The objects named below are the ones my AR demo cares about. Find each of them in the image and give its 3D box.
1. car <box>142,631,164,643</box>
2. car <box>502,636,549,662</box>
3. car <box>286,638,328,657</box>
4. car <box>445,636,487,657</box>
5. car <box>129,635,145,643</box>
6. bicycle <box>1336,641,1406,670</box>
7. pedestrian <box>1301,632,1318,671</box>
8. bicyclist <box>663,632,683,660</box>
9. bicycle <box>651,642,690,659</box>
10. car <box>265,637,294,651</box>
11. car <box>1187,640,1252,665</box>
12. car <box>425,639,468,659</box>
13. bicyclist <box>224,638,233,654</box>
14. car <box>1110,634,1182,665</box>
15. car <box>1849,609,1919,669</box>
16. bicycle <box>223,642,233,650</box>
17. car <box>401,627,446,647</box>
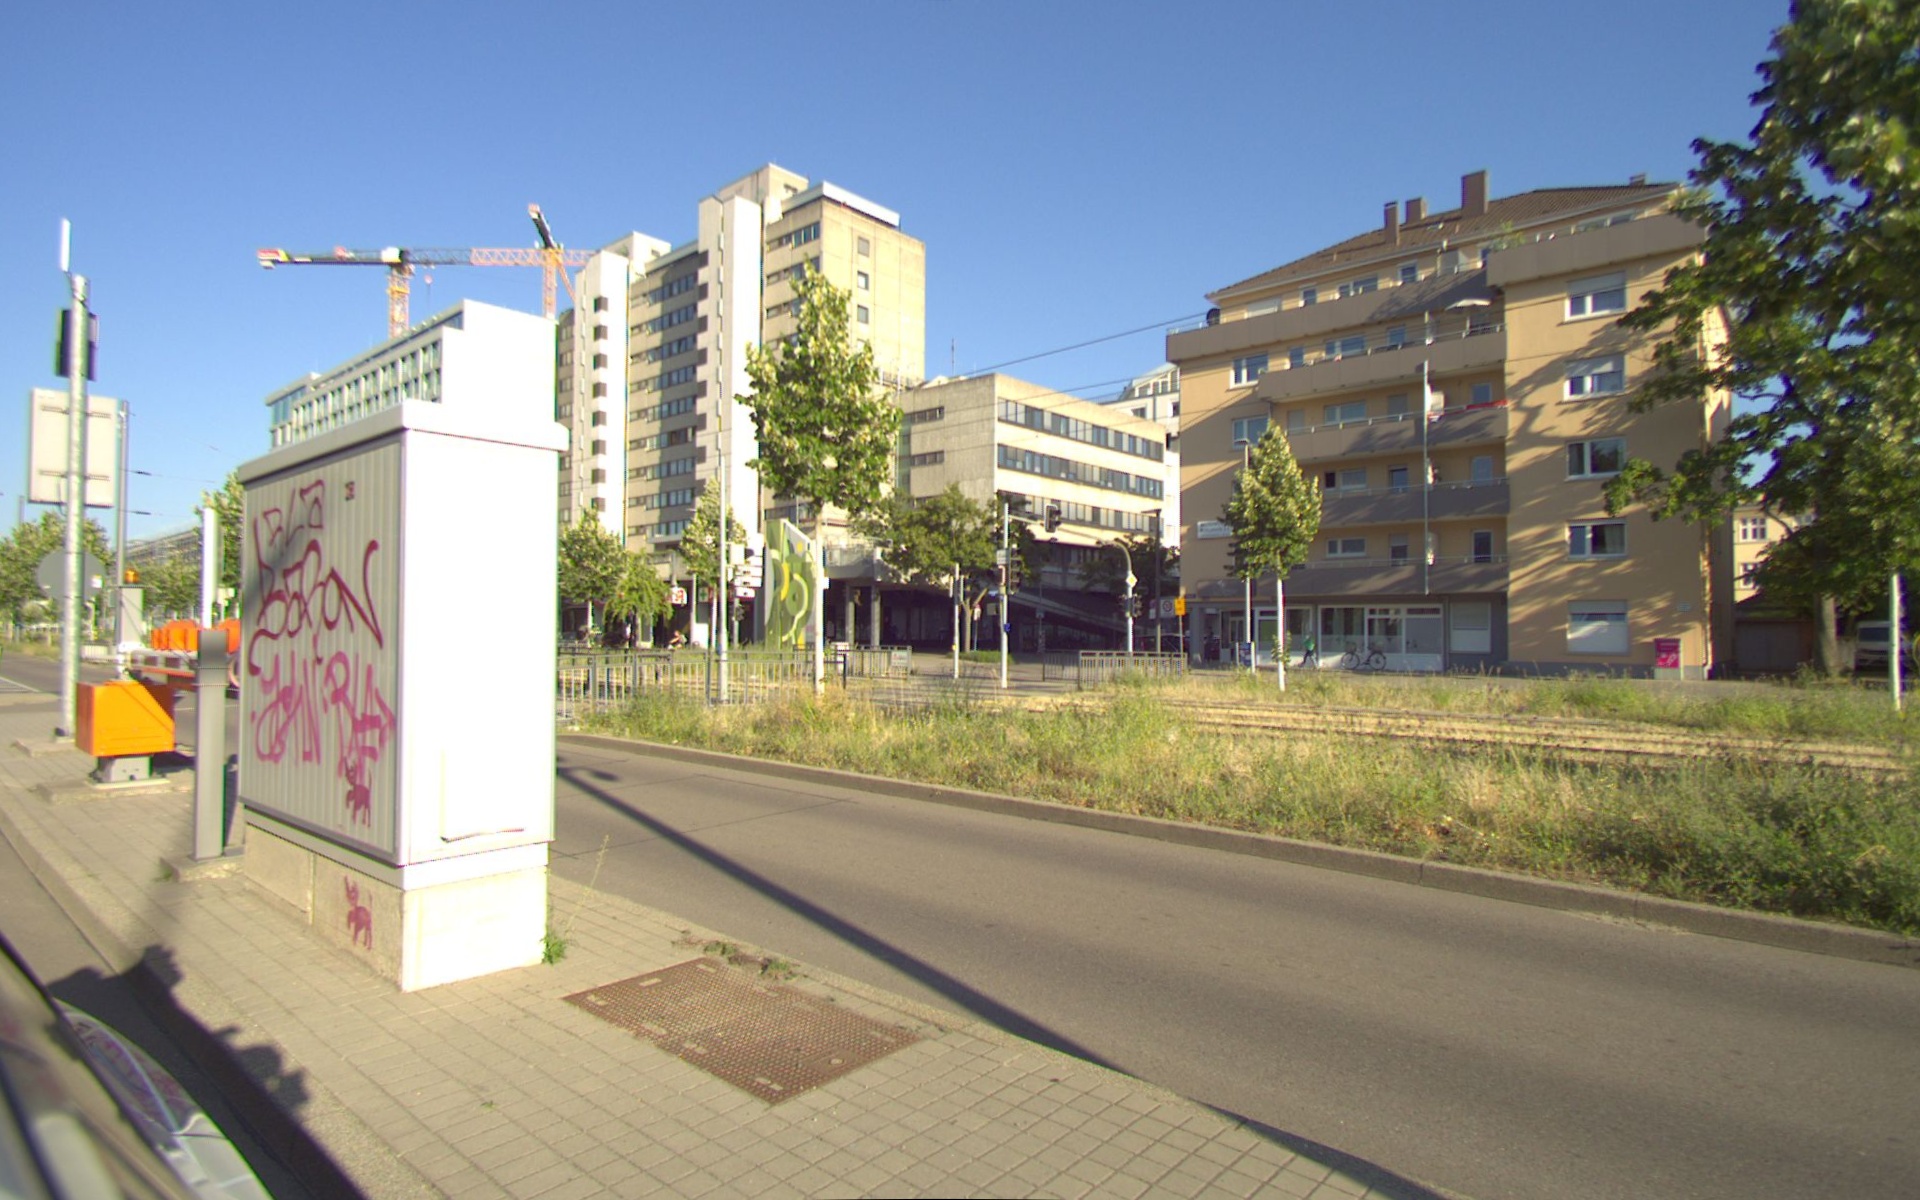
[{"bbox_3d":[-119.471,5.504,149.849,4.638,1.600,1.850,-1,0,42],"label":"car"},{"bbox_3d":[-31.775,3.592,74.170,1.599,1.703,4.195,-1,0,1],"label":"car"},{"bbox_3d":[-56.213,4.065,87.089,4.660,1.474,1.757,-1,-2,41],"label":"car"},{"bbox_3d":[-39.435,3.717,80.849,1.598,1.455,3.794,-1,0,-2],"label":"car"},{"bbox_3d":[-148.138,7.040,182.171,3.878,1.388,1.592,-1,0,42],"label":"car"},{"bbox_3d":[16.723,2.251,41.247,2.585,1.145,0.525,-2,-3,42],"label":"bicycle"},{"bbox_3d":[14.098,2.057,40.785,0.520,1.567,0.442,-2,-3,41],"label":"pedestrian"},{"bbox_3d":[-14.672,2.334,51.735,0.710,1.405,0.732,-1,-2,17],"label":"bicyclist"},{"bbox_3d":[-14.864,2.583,51.919,2.014,0.898,0.504,-1,-2,19],"label":"bicycle"},{"bbox_3d":[-74.196,4.774,110.380,3.389,1.477,1.850,-1,0,42],"label":"car"},{"bbox_3d":[14.745,2.953,57.360,1.999,1.313,3.945,-2,-2,42],"label":"car"},{"bbox_3d":[-41.848,3.970,82.557,1.763,1.455,3.805,-1,0,-4],"label":"car"},{"bbox_3d":[-84.491,5.311,116.888,0.918,1.758,0.551,-2,-3,40],"label":"bicyclist"},{"bbox_3d":[9.409,2.474,51.052,1.846,1.508,3.945,-2,-2,41],"label":"car"},{"bbox_3d":[33.653,1.408,36.664,2.000,2.062,3.943,-2,-3,43],"label":"car"},{"bbox_3d":[-84.598,5.298,116.925,2.101,0.869,0.432,-2,-3,41],"label":"bicycle"},{"bbox_3d":[-44.755,3.079,84.573,1.597,1.455,4.551,-1,0,-4],"label":"car"}]
